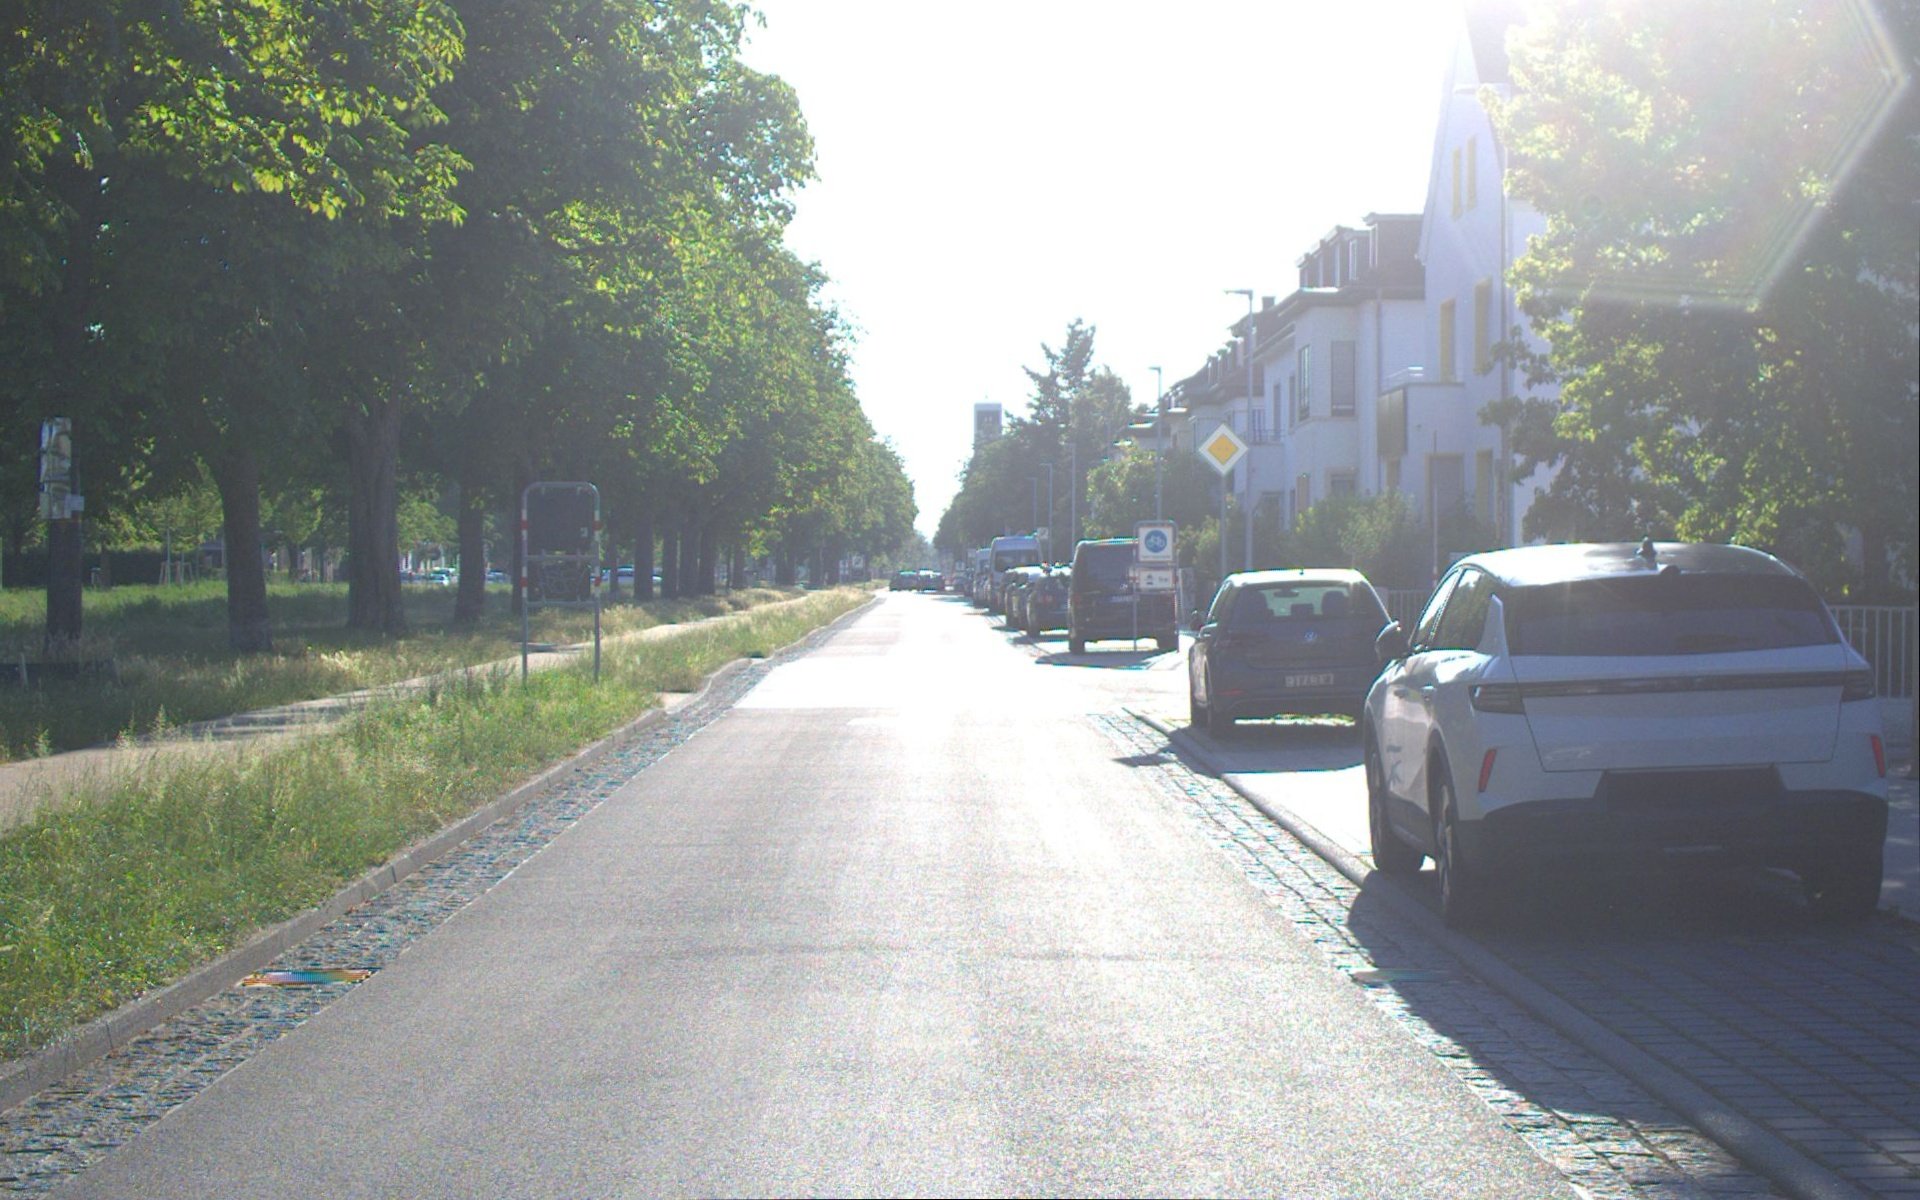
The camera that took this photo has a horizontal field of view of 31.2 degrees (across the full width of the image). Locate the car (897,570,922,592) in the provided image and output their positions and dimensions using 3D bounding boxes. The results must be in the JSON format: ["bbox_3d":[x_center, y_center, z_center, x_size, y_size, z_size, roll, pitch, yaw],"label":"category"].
[{"bbox_3d":[-3.758,-1.424,254.507,1.650,1.525,3.851,3,1,1],"label":"car"}]

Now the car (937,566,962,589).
[{"bbox_3d":[-0.727,-1.600,240.959,1.650,1.525,3.851,3,1,1],"label":"car"}]

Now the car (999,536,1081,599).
[{"bbox_3d":[2.067,-0.838,89.891,1.717,1.568,4.211,-2,0,-4],"label":"car"}]

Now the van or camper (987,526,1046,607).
[{"bbox_3d":[1.992,-1.175,123.066,1.943,2.768,5.940,1,0,0],"label":"van or camper"}]

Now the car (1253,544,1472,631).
[{"bbox_3d":[8.296,-0.261,71.086,4.216,1.720,1.853,-1,0,-4],"label":"car"}]

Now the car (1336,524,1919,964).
[{"bbox_3d":[2.955,0.531,16.146,1.905,1.702,4.575,-2,1,1],"label":"car"}]

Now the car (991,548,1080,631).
[{"bbox_3d":[1.679,-0.261,77.664,1.794,1.765,4.473,-2,1,-1],"label":"car"}]

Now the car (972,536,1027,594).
[{"bbox_3d":[1.731,-1.570,153.279,2.126,2.524,5.189,-1,1,-2],"label":"car"}]

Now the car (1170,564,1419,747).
[{"bbox_3d":[2.967,0.452,31.238,1.794,1.477,4.124,-2,1,0],"label":"car"}]

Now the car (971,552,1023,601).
[{"bbox_3d":[1.226,-0.790,116.388,1.663,1.587,4.086,1,0,0],"label":"car"}]

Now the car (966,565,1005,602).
[{"bbox_3d":[1.103,-0.714,147.222,1.650,1.525,3.851,-1,1,1],"label":"car"}]

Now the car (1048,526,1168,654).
[{"bbox_3d":[2.595,-0.202,61.271,1.906,2.124,4.814,-2,1,1],"label":"car"}]
